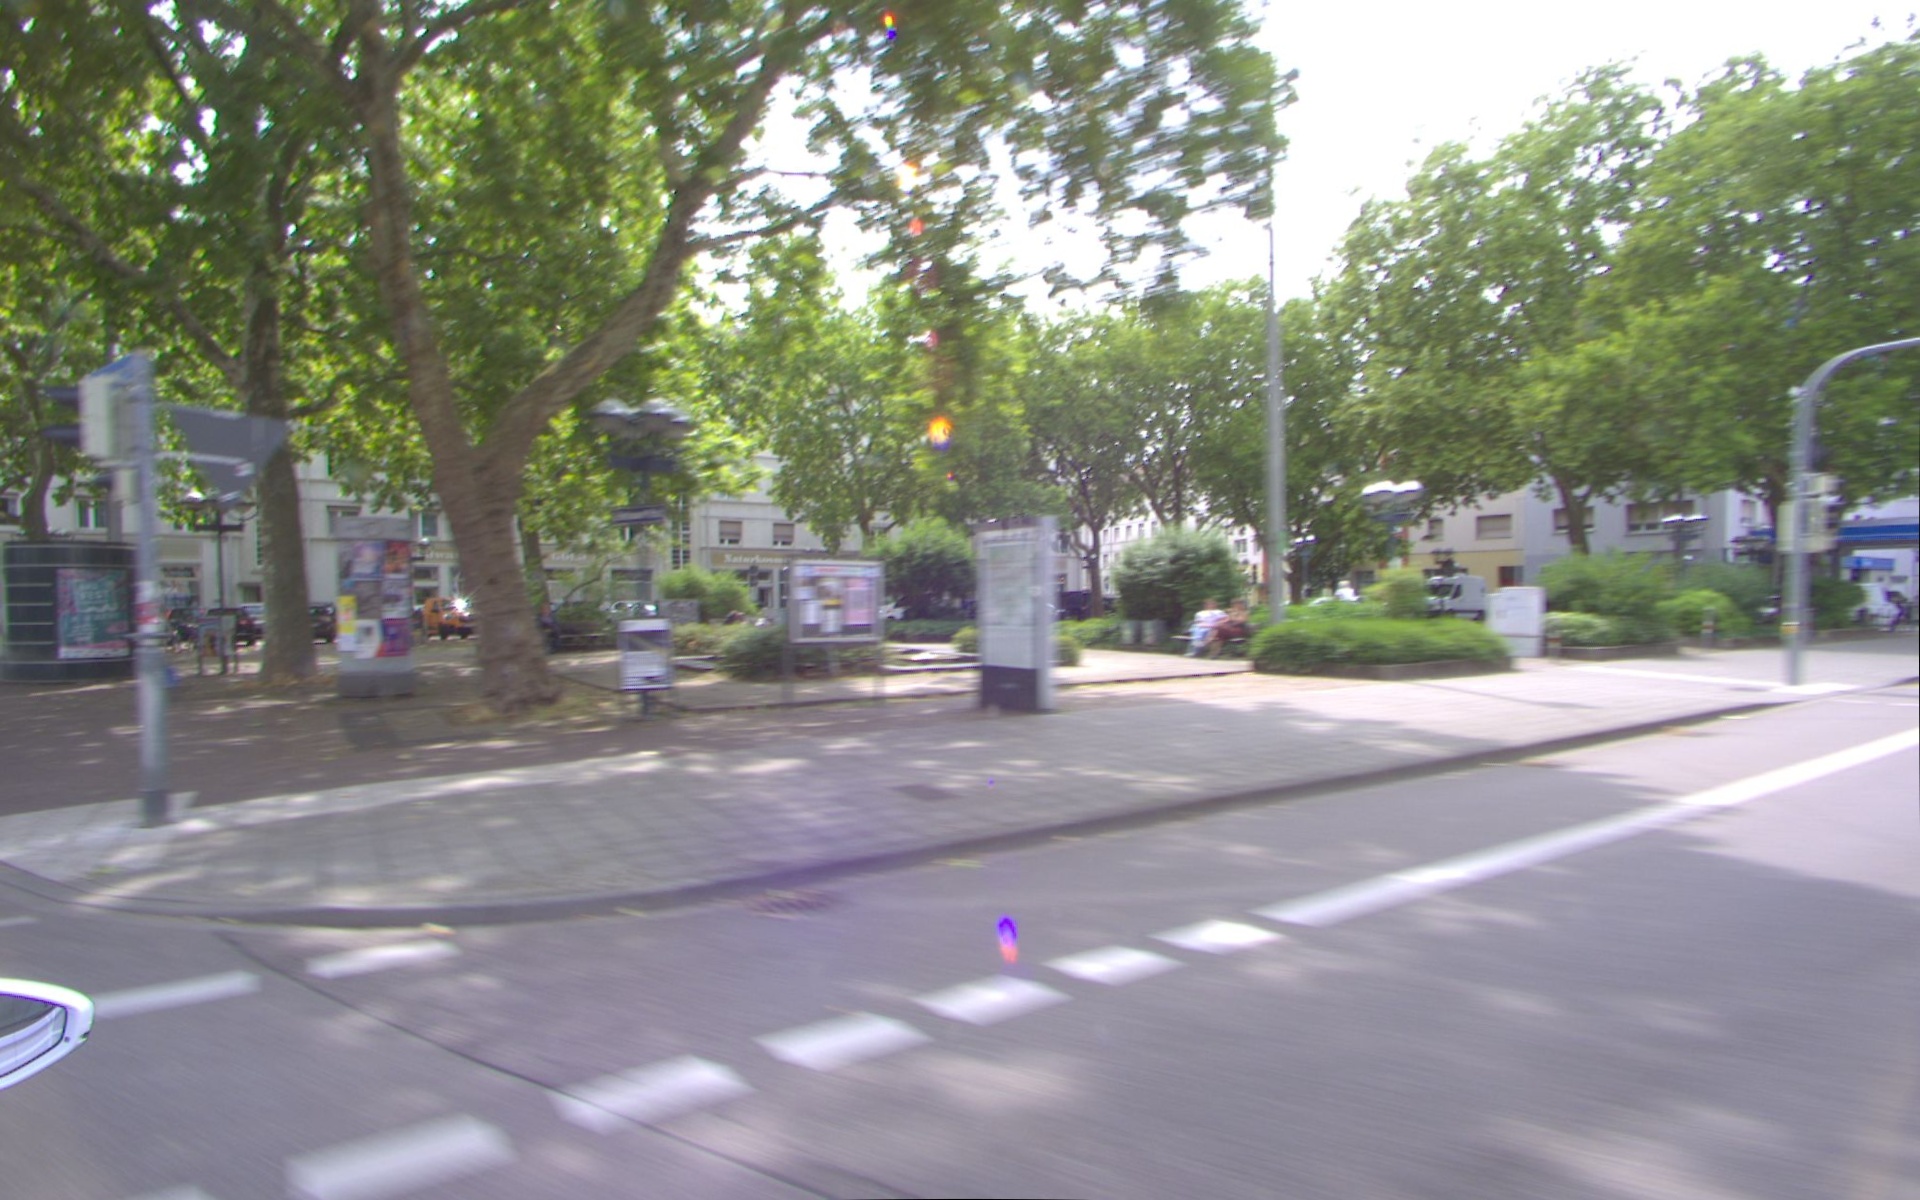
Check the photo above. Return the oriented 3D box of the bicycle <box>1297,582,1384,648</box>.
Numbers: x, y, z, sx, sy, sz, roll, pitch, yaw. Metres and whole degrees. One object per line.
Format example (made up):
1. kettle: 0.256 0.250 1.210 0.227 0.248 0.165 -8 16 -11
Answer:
1. bicycle: 10.290 0.384 27.145 0.713 1.728 2.169 -1 1 -35

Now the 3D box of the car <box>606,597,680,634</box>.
1. car: -15.014 0.709 47.300 1.976 1.639 4.172 -1 0 -38

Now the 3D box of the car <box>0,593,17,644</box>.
1. car: -34.158 0.649 34.585 1.916 1.728 4.296 -1 0 -38

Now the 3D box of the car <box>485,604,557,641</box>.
1. car: -19.326 0.962 43.977 1.976 1.483 3.969 -1 0 -38

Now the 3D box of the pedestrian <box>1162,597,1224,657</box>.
1. pedestrian: 5.359 0.608 23.030 1.164 1.335 0.861 0 1 -36

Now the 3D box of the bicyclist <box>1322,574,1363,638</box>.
1. bicyclist: 10.334 0.156 27.057 0.555 1.675 0.861 -1 1 -36

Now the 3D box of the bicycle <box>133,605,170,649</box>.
1. bicycle: -27.037 0.866 33.514 0.414 1.396 2.301 -1 1 -26

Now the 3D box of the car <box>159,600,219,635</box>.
1. car: -35.203 0.786 45.827 1.975 1.524 4.165 -1 0 -35

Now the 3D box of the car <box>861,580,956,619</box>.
1. car: -2.535 -0.026 49.260 4.276 1.840 1.987 -1 1 -34

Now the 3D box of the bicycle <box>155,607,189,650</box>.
1. bicycle: -26.489 0.924 33.679 0.414 1.396 2.301 -1 0 -26

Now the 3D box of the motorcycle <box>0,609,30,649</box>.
1. motorcycle: -30.297 0.906 31.200 0.523 1.239 1.852 1 1 28

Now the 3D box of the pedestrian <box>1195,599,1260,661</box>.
1. pedestrian: 5.963 0.644 22.298 1.164 1.335 0.861 0 1 -36

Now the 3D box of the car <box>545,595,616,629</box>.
1. car: -17.497 0.550 46.129 1.976 1.483 3.969 -1 0 -38

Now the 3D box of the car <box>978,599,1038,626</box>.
1. car: 2.858 0.720 60.088 1.968 1.503 4.085 -1 0 -24

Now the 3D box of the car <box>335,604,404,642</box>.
1. car: -24.607 0.914 41.695 1.976 1.483 3.969 -1 0 -38

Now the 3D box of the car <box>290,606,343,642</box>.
1. car: -31.327 1.130 48.717 1.975 1.612 4.165 -1 0 -35

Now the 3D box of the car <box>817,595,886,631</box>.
1. car: -5.884 0.693 54.097 1.895 1.840 3.968 -1 0 -39

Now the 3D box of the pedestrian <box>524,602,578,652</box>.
1. pedestrian: -10.484 0.683 25.664 1.084 1.229 1.133 -1 1 -33

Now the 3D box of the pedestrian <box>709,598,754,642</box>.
1. pedestrian: -6.451 0.549 28.248 0.878 1.216 1.116 -1 1 -37

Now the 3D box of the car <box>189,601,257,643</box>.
1. car: -28.216 0.820 38.281 1.976 1.483 3.969 -1 0 -38

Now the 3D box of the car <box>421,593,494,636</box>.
1. car: -21.828 0.615 43.388 1.976 1.717 4.524 -1 0 -38

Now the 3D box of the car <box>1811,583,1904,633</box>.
1. car: 35.688 0.290 39.800 4.329 1.903 1.984 0 1 -37

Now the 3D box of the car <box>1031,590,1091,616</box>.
1. car: 6.259 0.170 62.340 1.968 1.503 4.085 -1 0 -24

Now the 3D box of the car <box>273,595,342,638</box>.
1. car: -26.120 0.652 40.058 1.976 1.620 3.969 -1 0 -38

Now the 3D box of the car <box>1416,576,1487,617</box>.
1. car: 26.812 -0.208 54.545 3.981 2.136 1.984 0 1 -39

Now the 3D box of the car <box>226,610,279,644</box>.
1. car: -33.483 1.258 47.428 1.975 1.507 4.165 -1 0 -35
